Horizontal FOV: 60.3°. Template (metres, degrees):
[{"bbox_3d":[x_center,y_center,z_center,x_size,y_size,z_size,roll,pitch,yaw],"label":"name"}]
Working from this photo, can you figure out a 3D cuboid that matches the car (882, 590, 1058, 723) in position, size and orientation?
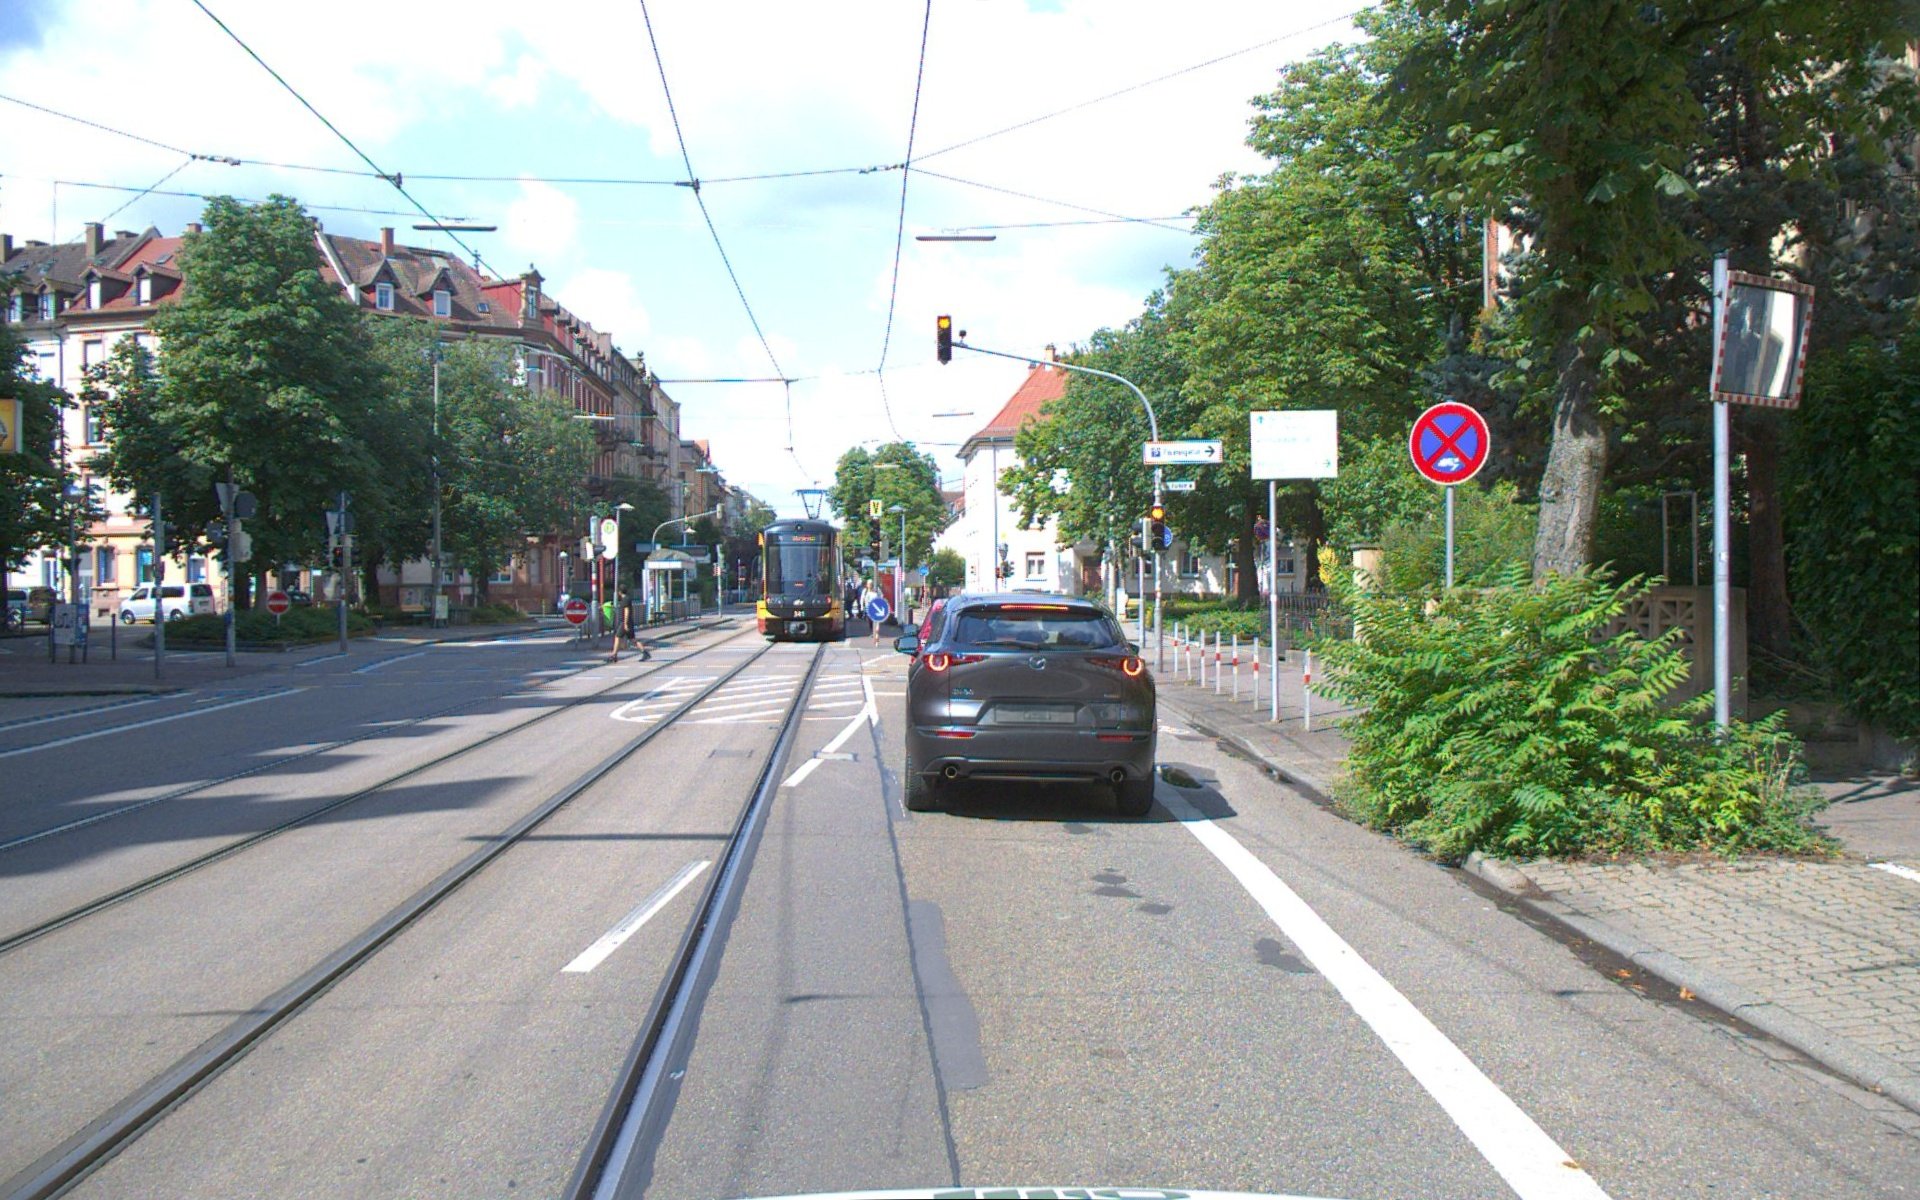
[{"bbox_3d":[0.012,0.648,21.885,1.751,1.518,4.876,-1,1,-7],"label":"car"}]

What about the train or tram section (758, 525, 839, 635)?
[{"bbox_3d":[-5.883,-0.668,59.164,2.602,3.589,8.483,-1,0,-7],"label":"train or tram section"}]

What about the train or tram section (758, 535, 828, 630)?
[{"bbox_3d":[-6.922,-0.661,67.598,2.602,3.589,8.483,-1,0,-7],"label":"train or tram section"}]

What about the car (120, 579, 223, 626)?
[{"bbox_3d":[-39.137,0.104,82.134,4.033,2.048,2.001,-4,0,5],"label":"car"}]

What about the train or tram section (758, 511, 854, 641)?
[{"bbox_3d":[-4.835,-0.677,50.720,2.602,3.589,8.483,-1,0,-7],"label":"train or tram section"}]

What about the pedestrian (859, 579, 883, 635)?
[{"bbox_3d":[-2.588,0.199,48.164,0.655,1.633,0.699,0,0,-6],"label":"pedestrian"}]

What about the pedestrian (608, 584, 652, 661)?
[{"bbox_3d":[-7.023,0.474,35.242,0.858,1.633,0.631,0,0,-7],"label":"pedestrian"}]

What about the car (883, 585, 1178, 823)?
[{"bbox_3d":[0.369,0.665,13.008,1.755,1.538,4.346,1,0,-5],"label":"car"}]
